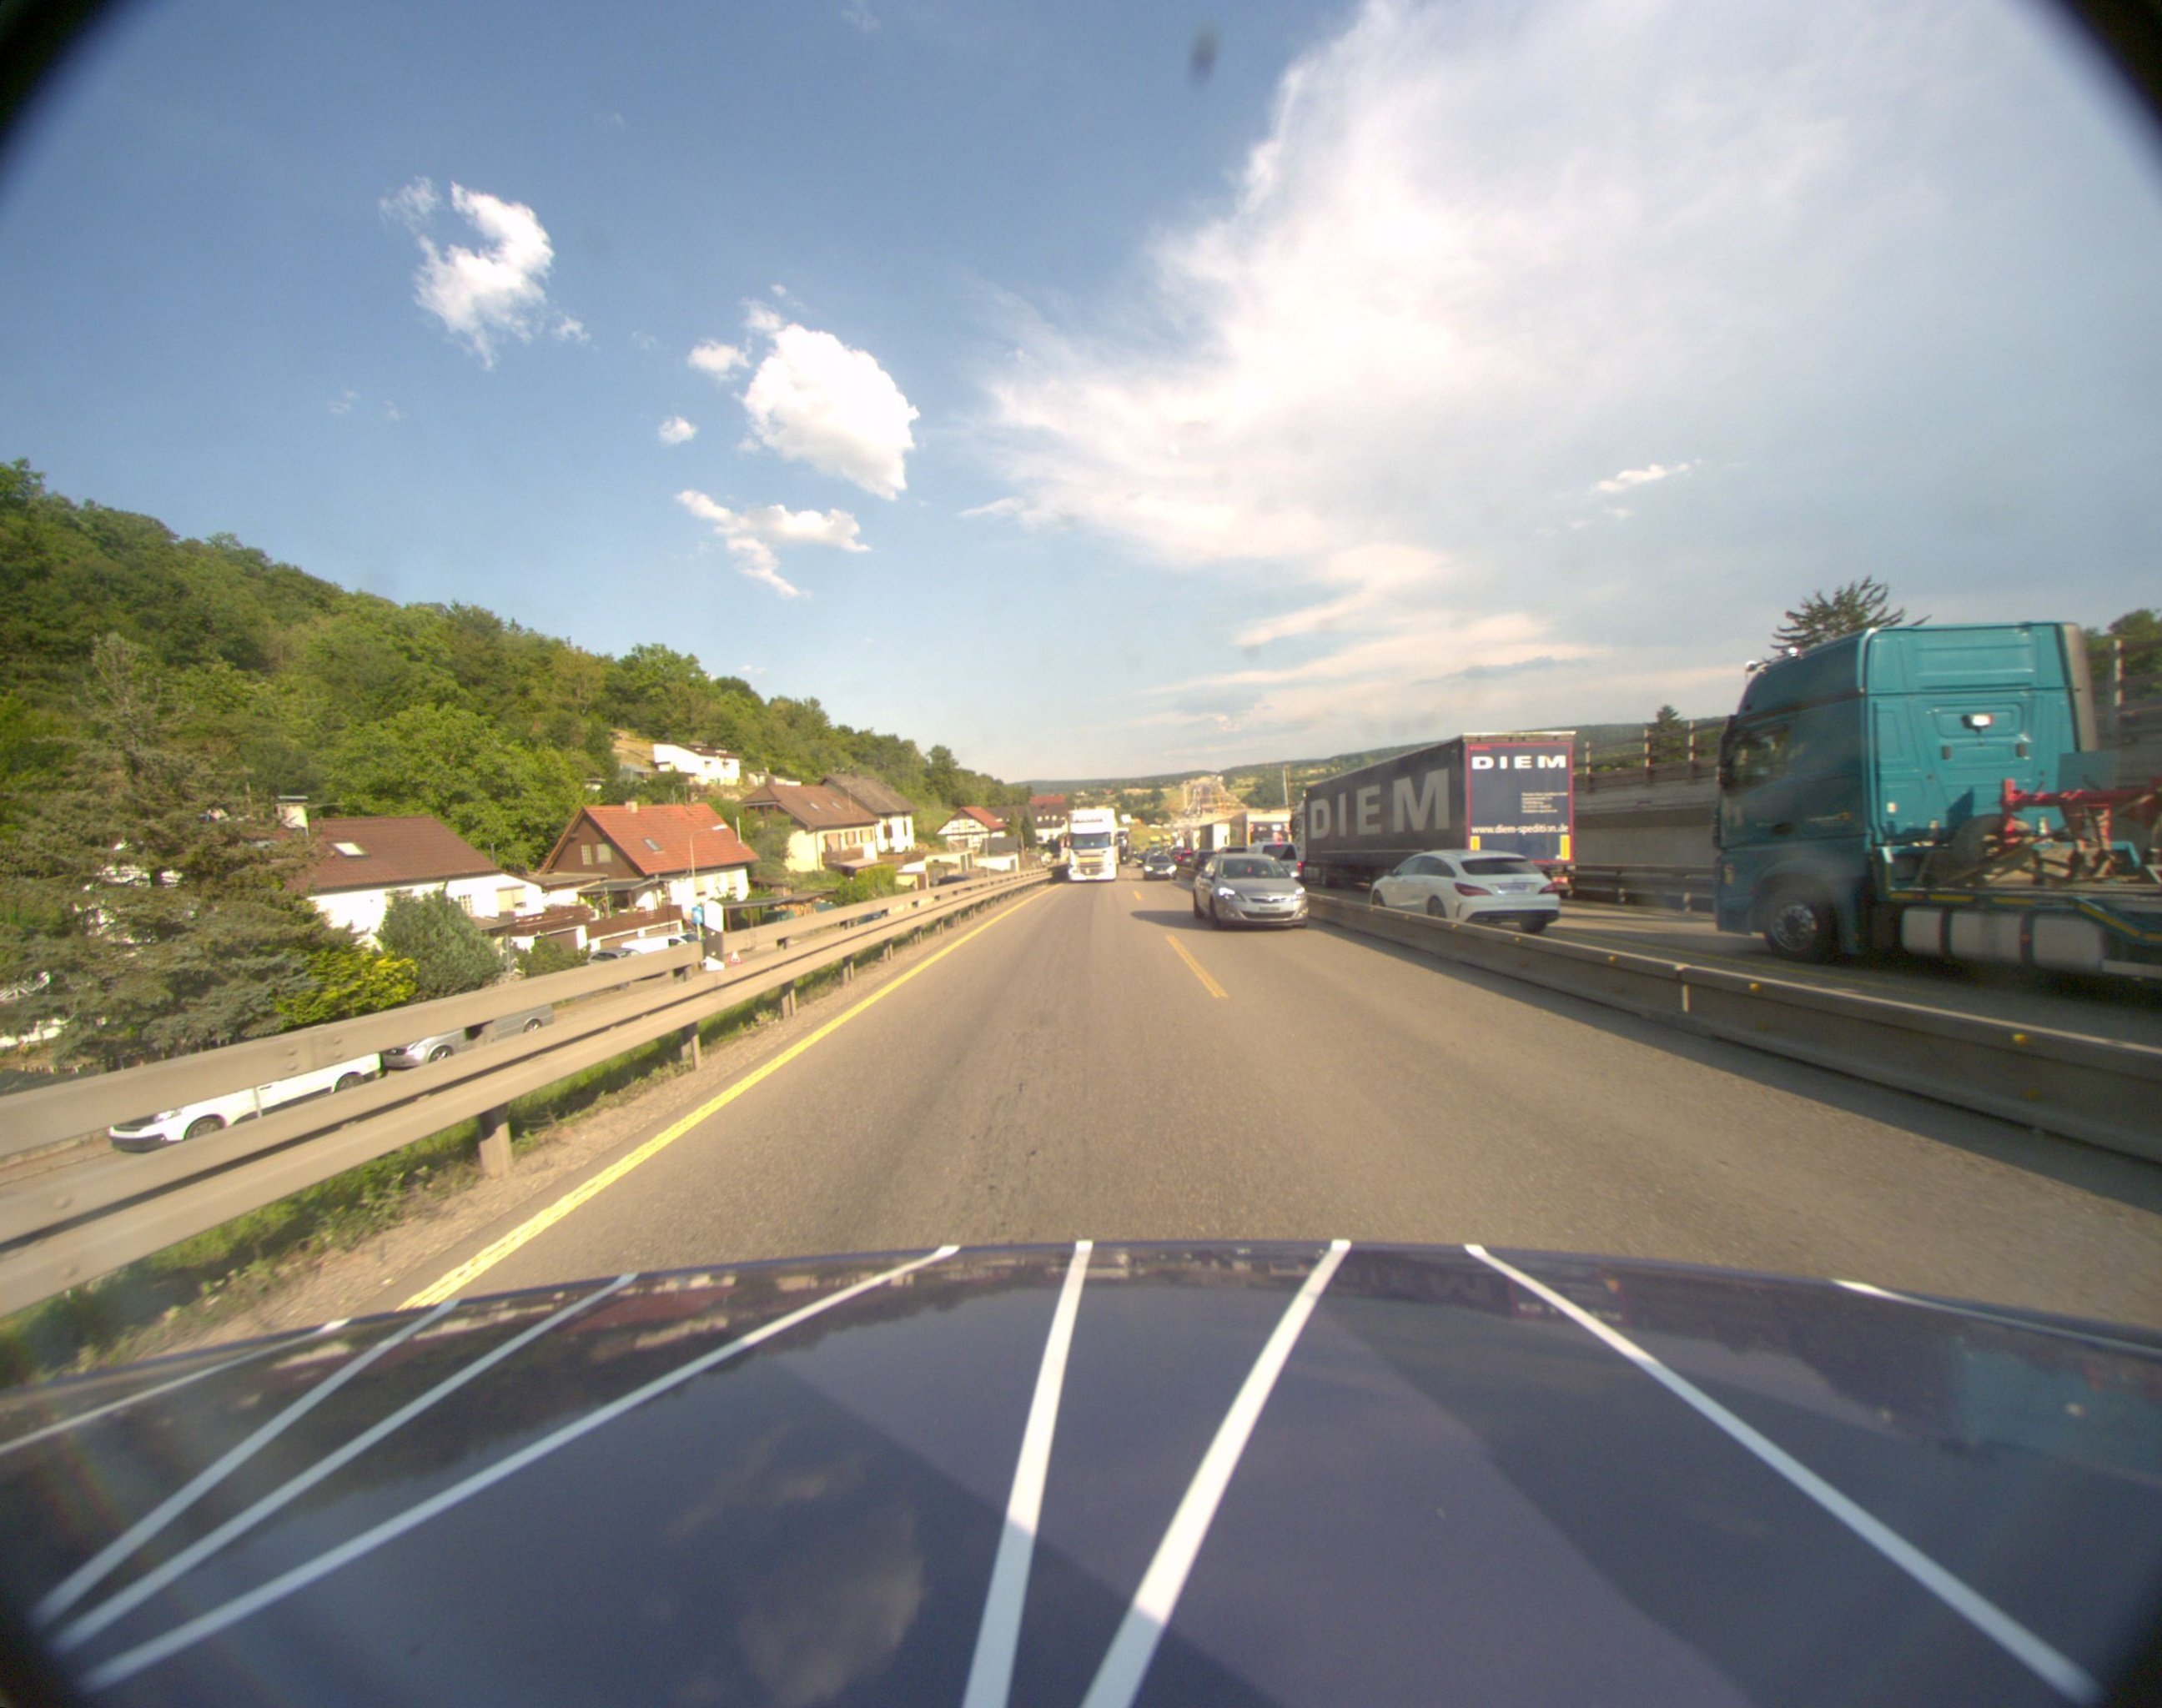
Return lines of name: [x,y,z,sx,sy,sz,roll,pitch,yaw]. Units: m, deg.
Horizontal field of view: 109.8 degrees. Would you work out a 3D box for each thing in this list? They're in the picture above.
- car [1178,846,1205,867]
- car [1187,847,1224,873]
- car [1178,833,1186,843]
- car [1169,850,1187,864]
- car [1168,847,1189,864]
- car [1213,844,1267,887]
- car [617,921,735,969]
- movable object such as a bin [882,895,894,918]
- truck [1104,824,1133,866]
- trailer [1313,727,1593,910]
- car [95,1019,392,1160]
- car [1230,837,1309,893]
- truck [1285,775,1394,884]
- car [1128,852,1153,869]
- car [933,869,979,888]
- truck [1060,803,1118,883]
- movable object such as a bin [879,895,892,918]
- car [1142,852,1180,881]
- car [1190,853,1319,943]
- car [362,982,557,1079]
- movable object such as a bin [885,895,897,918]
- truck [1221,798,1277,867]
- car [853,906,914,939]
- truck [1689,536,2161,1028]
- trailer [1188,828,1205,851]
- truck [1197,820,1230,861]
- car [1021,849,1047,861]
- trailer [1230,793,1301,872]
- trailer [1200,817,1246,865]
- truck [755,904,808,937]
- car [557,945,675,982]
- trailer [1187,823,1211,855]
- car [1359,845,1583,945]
car: [9.833,0.191,67.758,1.866,1.577,4.745,-4,2,4]
car: [8.532,0.371,52.527,1.881,1.596,5.368,1,1,2]
car: [27.905,-4.464,209.782,2.000,2.601,5.615,0,1,7]
car: [11.939,0.323,93.516,1.778,1.448,4.814,-3,2,4]
car: [10.049,0.154,78.420,1.771,1.542,4.479,-2,2,4]
car: [8.008,0.509,38.720,1.837,1.952,4.898,-1,2,2]
car: [-22.325,5.000,41.965,5.476,2.251,2.000,-2,3,9]
movable object such as a bin: [-15.640,4.293,61.631,0.490,1.760,0.414,-11,1,15]
truck: [4.406,-1.005,87.941,2.787,4.505,7.192,-3,0,5]
trailer: [10.252,-0.868,23.337,2.721,4.099,12.491,0,1,1]
car: [-22.188,6.138,20.547,1.865,1.975,5.053,-1,3,10]
car: [7.170,0.332,29.466,1.828,1.922,5.129,1,1,1]
truck: [10.396,-0.942,31.083,2.756,4.091,5.030,0,1,1]
car: [5.775,0.621,73.856,1.999,1.565,3.998,-1,1,-2]
car: [-13.645,2.623,83.099,4.500,1.517,2.000,5,5,10]
truck: [0.540,-0.704,46.015,2.892,4.059,13.891,-1,1,1]
movable object such as a bin: [-15.752,4.231,61.220,0.536,1.760,0.409,-11,1,15]
car: [4.396,0.639,42.236,1.823,1.433,4.000,-3,0,2]
car: [3.381,0.784,15.595,1.810,1.478,4.118,-2,1,2]
car: [-20.990,5.884,26.018,1.999,1.907,4.865,-1,3,12]
movable object such as a bin: [-15.538,4.306,62.055,0.490,1.760,0.414,-11,1,15]
truck: [11.604,-1.476,52.999,2.926,4.488,5.027,-2,1,3]
car: [-13.232,4.573,51.107,1.769,1.589,3.622,-6,1,29]
truck: [9.711,-0.570,6.866,2.756,3.784,7.110,0,1,1]
trailer: [21.022,-2.602,138.771,2.821,4.082,8.289,-1,1,7]
truck: [13.907,-1.432,80.069,2.770,4.179,6.115,-1,1,4]
car: [-7.675,0.095,123.693,3.994,1.829,1.750,1,3,8]
trailer: [11.340,-1.300,47.402,2.918,4.440,7.152,-2,1,3]
trailer: [13.456,-1.286,73.367,2.782,4.179,13.834,-1,1,4]
truck: [-20.638,4.538,52.238,2.002,1.729,3.990,-11,5,-40]
car: [-23.364,5.503,38.243,5.099,1.548,1.716,-2,3,9]
trailer: [17.055,-2.197,110.519,2.461,4.295,13.778,-1,1,5]
car: [6.894,0.613,14.134,1.807,1.513,4.816,0,1,2]
